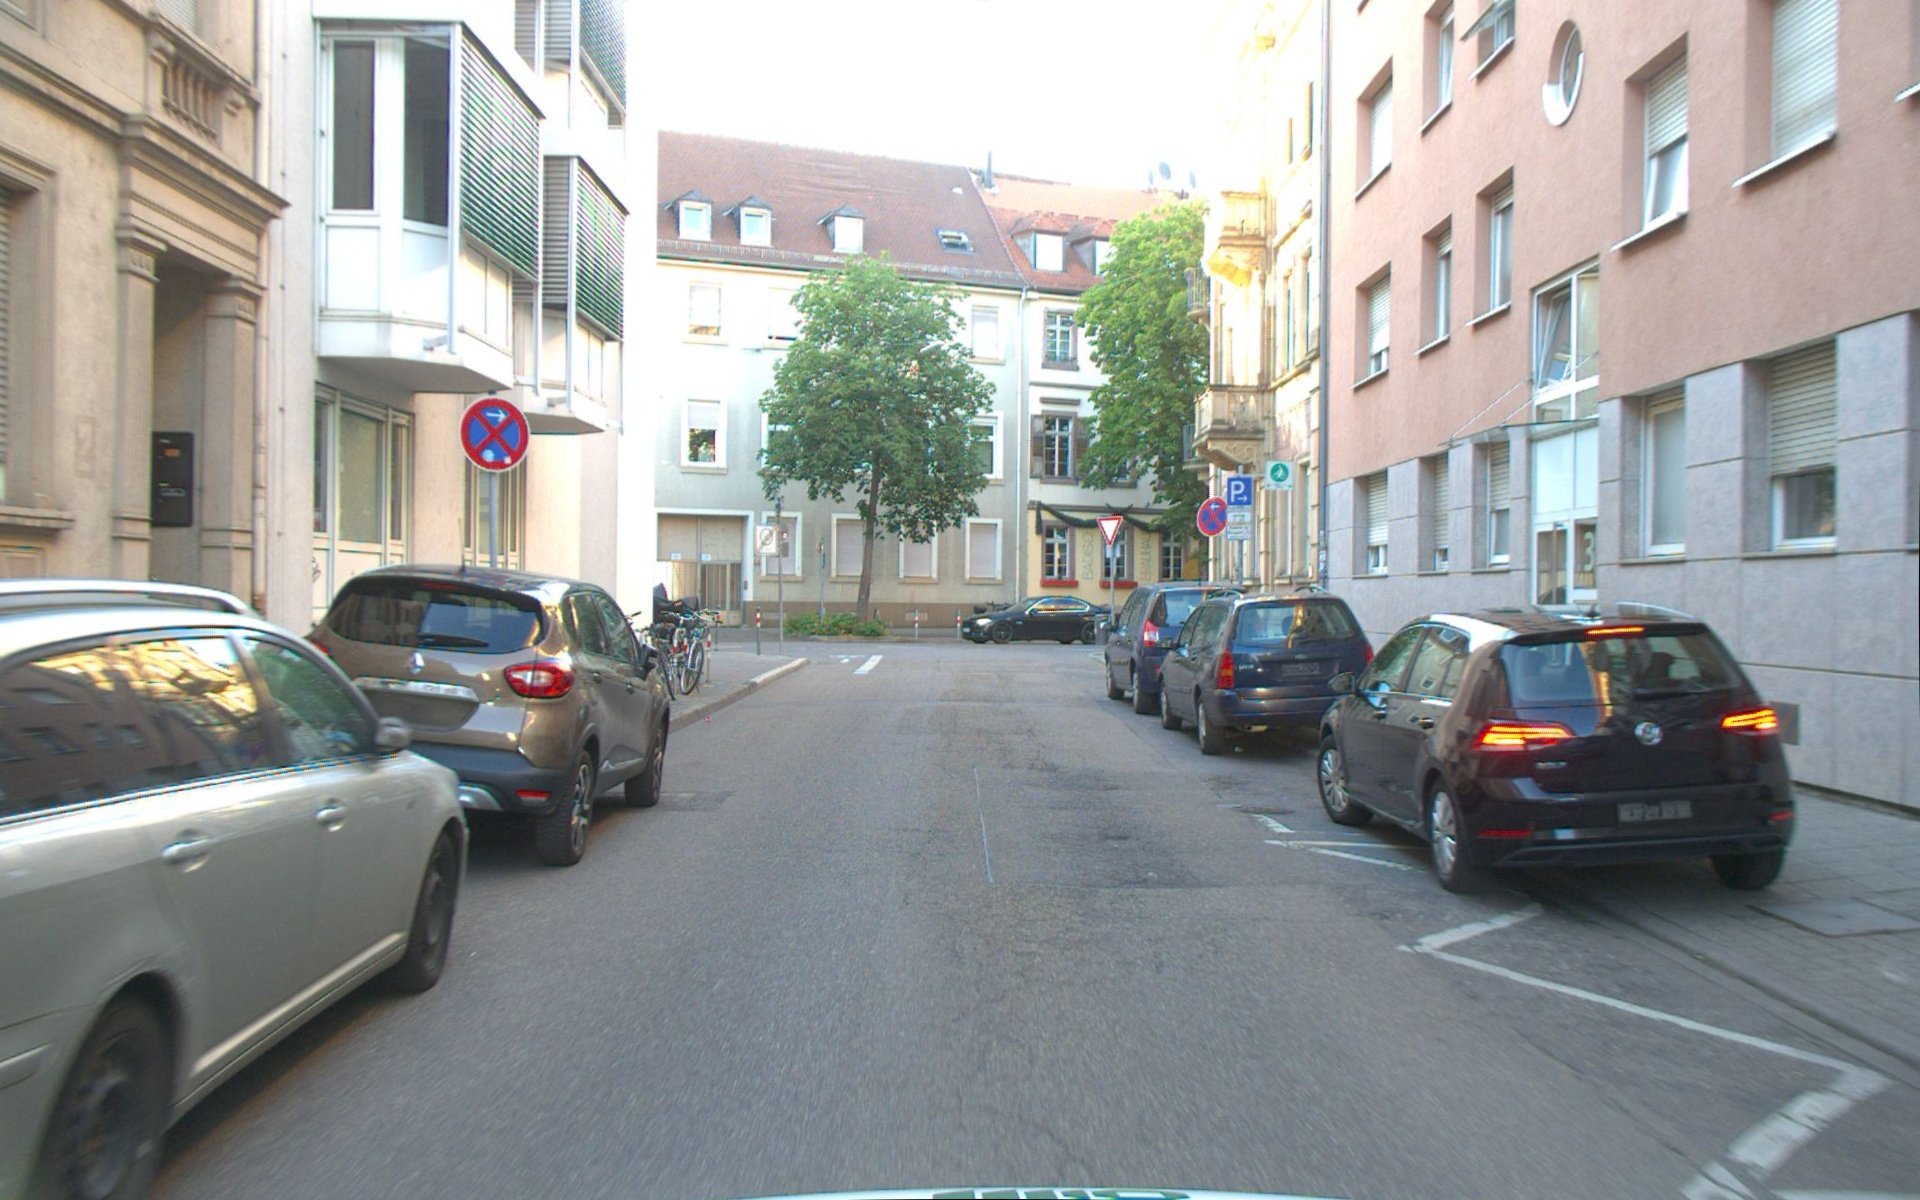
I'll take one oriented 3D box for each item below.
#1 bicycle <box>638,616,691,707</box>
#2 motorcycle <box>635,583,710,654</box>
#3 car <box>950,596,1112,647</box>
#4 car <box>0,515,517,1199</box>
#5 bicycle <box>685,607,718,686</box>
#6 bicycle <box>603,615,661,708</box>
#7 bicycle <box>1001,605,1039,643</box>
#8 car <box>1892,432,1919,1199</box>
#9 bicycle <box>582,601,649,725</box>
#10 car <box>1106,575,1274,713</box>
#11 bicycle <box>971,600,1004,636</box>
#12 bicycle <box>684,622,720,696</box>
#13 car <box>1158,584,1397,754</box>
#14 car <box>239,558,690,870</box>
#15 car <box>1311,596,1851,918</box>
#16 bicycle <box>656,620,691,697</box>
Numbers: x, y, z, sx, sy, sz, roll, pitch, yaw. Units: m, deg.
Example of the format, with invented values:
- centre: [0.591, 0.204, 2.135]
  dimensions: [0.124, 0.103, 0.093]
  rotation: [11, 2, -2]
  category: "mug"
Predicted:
- centre: [-3.665, 0.740, 20.592]
  dimensions: [0.300, 1.060, 1.813]
  rotation: [0, 0, 1]
  category: "bicycle"
- centre: [-6.563, 0.407, 37.661]
  dimensions: [0.664, 1.582, 2.129]
  rotation: [0, 0, -42]
  category: "motorcycle"
- centre: [2.123, 0.625, 49.611]
  dimensions: [4.586, 1.475, 1.757]
  rotation: [0, 0, -22]
  category: "car"
- centre: [-2.671, 0.610, 4.664]
  dimensions: [1.754, 1.566, 4.433]
  rotation: [1, 0, -2]
  category: "car"
- centre: [-3.866, 0.678, 24.790]
  dimensions: [0.392, 1.121, 1.811]
  rotation: [1, 0, -6]
  category: "bicycle"
- centre: [-4.016, 0.727, 20.334]
  dimensions: [0.300, 1.060, 1.813]
  rotation: [1, 0, 1]
  category: "bicycle"
- centre: [1.914, 0.751, 52.918]
  dimensions: [0.438, 1.165, 2.029]
  rotation: [0, 0, -21]
  category: "bicycle"
- centre: [2.979, 0.530, 1.750]
  dimensions: [1.655, 1.772, 4.109]
  rotation: [1, 0, 0]
  category: "car"
- centre: [-3.694, 0.645, 17.825]
  dimensions: [0.300, 1.244, 1.813]
  rotation: [1, 0, 1]
  category: "bicycle"
- centre: [2.973, 0.521, 22.128]
  dimensions: [1.655, 1.653, 4.054]
  rotation: [1, 0, 0]
  category: "car"
- centre: [0.884, 0.587, 54.365]
  dimensions: [0.438, 1.165, 2.031]
  rotation: [0, 0, -18]
  category: "bicycle"
- centre: [-3.559, 0.795, 22.859]
  dimensions: [0.301, 0.948, 1.812]
  rotation: [1, 0, -3]
  category: "bicycle"
- centre: [3.156, 0.615, 17.242]
  dimensions: [1.655, 1.540, 4.283]
  rotation: [1, 0, 0]
  category: "car"
- centre: [-2.892, 0.581, 10.591]
  dimensions: [1.754, 1.603, 4.069]
  rotation: [1, 0, -2]
  category: "car"
- centre: [3.374, 0.738, 9.876]
  dimensions: [1.655, 1.483, 4.131]
  rotation: [1, 0, 0]
  category: "car"
- centre: [-3.875, 0.772, 22.429]
  dimensions: [0.301, 0.948, 1.811]
  rotation: [1, 0, -5]
  category: "bicycle"
